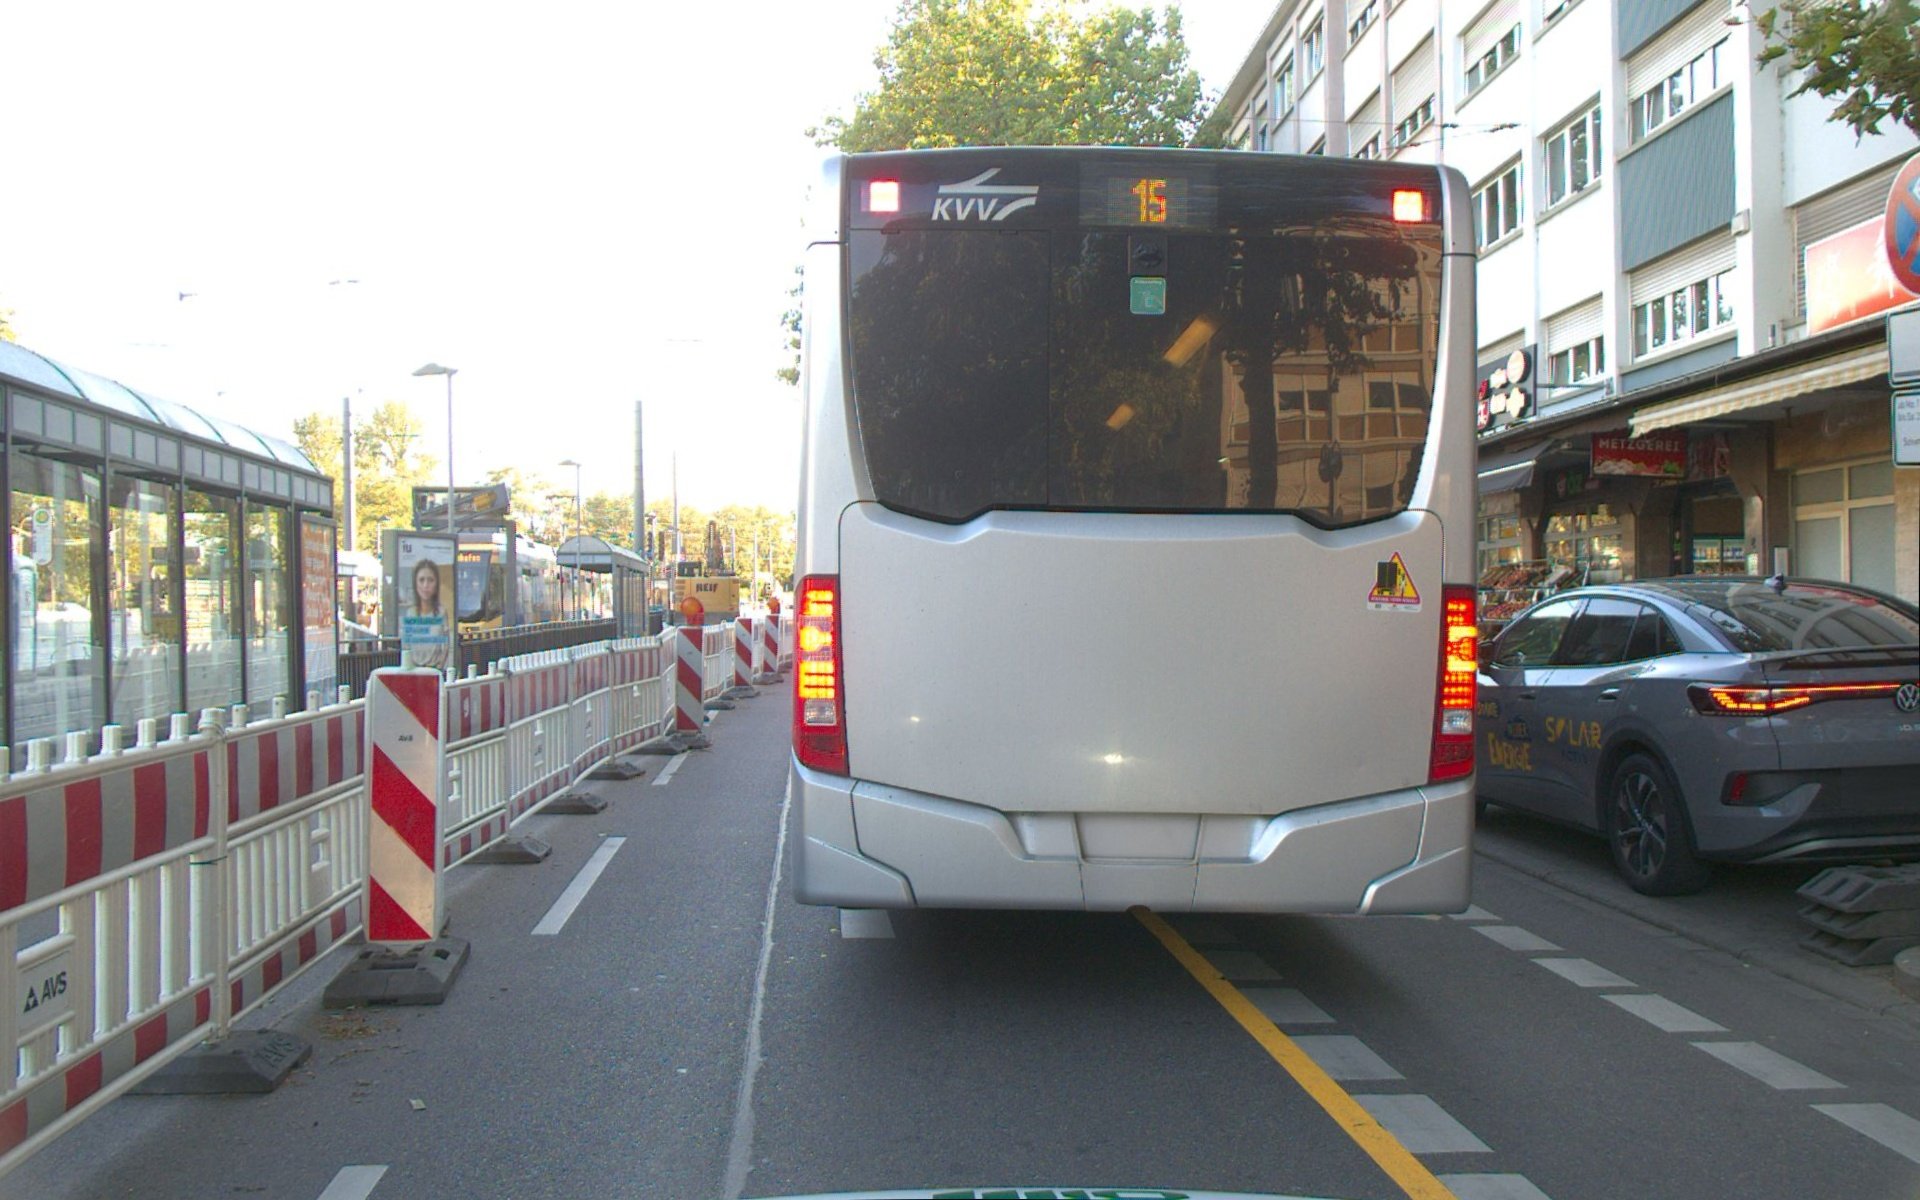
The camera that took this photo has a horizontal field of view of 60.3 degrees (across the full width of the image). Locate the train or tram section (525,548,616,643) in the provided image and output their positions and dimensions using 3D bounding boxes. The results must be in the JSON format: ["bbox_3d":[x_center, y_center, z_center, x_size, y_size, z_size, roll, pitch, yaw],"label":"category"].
[{"bbox_3d":[-16.167,-0.146,69.416,2.636,3.594,11.560,1,0,-8],"label":"train or tram section"}]

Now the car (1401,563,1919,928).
[{"bbox_3d":[4.378,0.637,9.825,1.955,1.609,4.363,-3,1,-5],"label":"car"}]

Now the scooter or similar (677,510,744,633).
[{"bbox_3d":[-9.622,-1.046,64.180,2.422,4.549,5.962,0,0,-8],"label":"scooter or similar"}]

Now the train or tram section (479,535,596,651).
[{"bbox_3d":[-14.585,-0.204,57.941,2.636,3.621,11.560,1,0,-8],"label":"train or tram section"}]

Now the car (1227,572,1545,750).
[{"bbox_3d":[4.460,0.568,18.084,1.955,1.609,4.363,-3,1,-5],"label":"car"}]

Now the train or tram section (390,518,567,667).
[{"bbox_3d":[-13.184,-0.158,46.397,2.635,3.595,11.756,1,0,-6],"label":"train or tram section"}]

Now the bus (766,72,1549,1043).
[{"bbox_3d":[0.616,-0.126,9.508,2.558,3.181,7.991,1,0,-1],"label":"bus"}]

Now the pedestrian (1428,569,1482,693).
[{"bbox_3d":[6.945,0.434,23.227,0.649,1.696,0.601,-2,-1,15],"label":"pedestrian"}]
